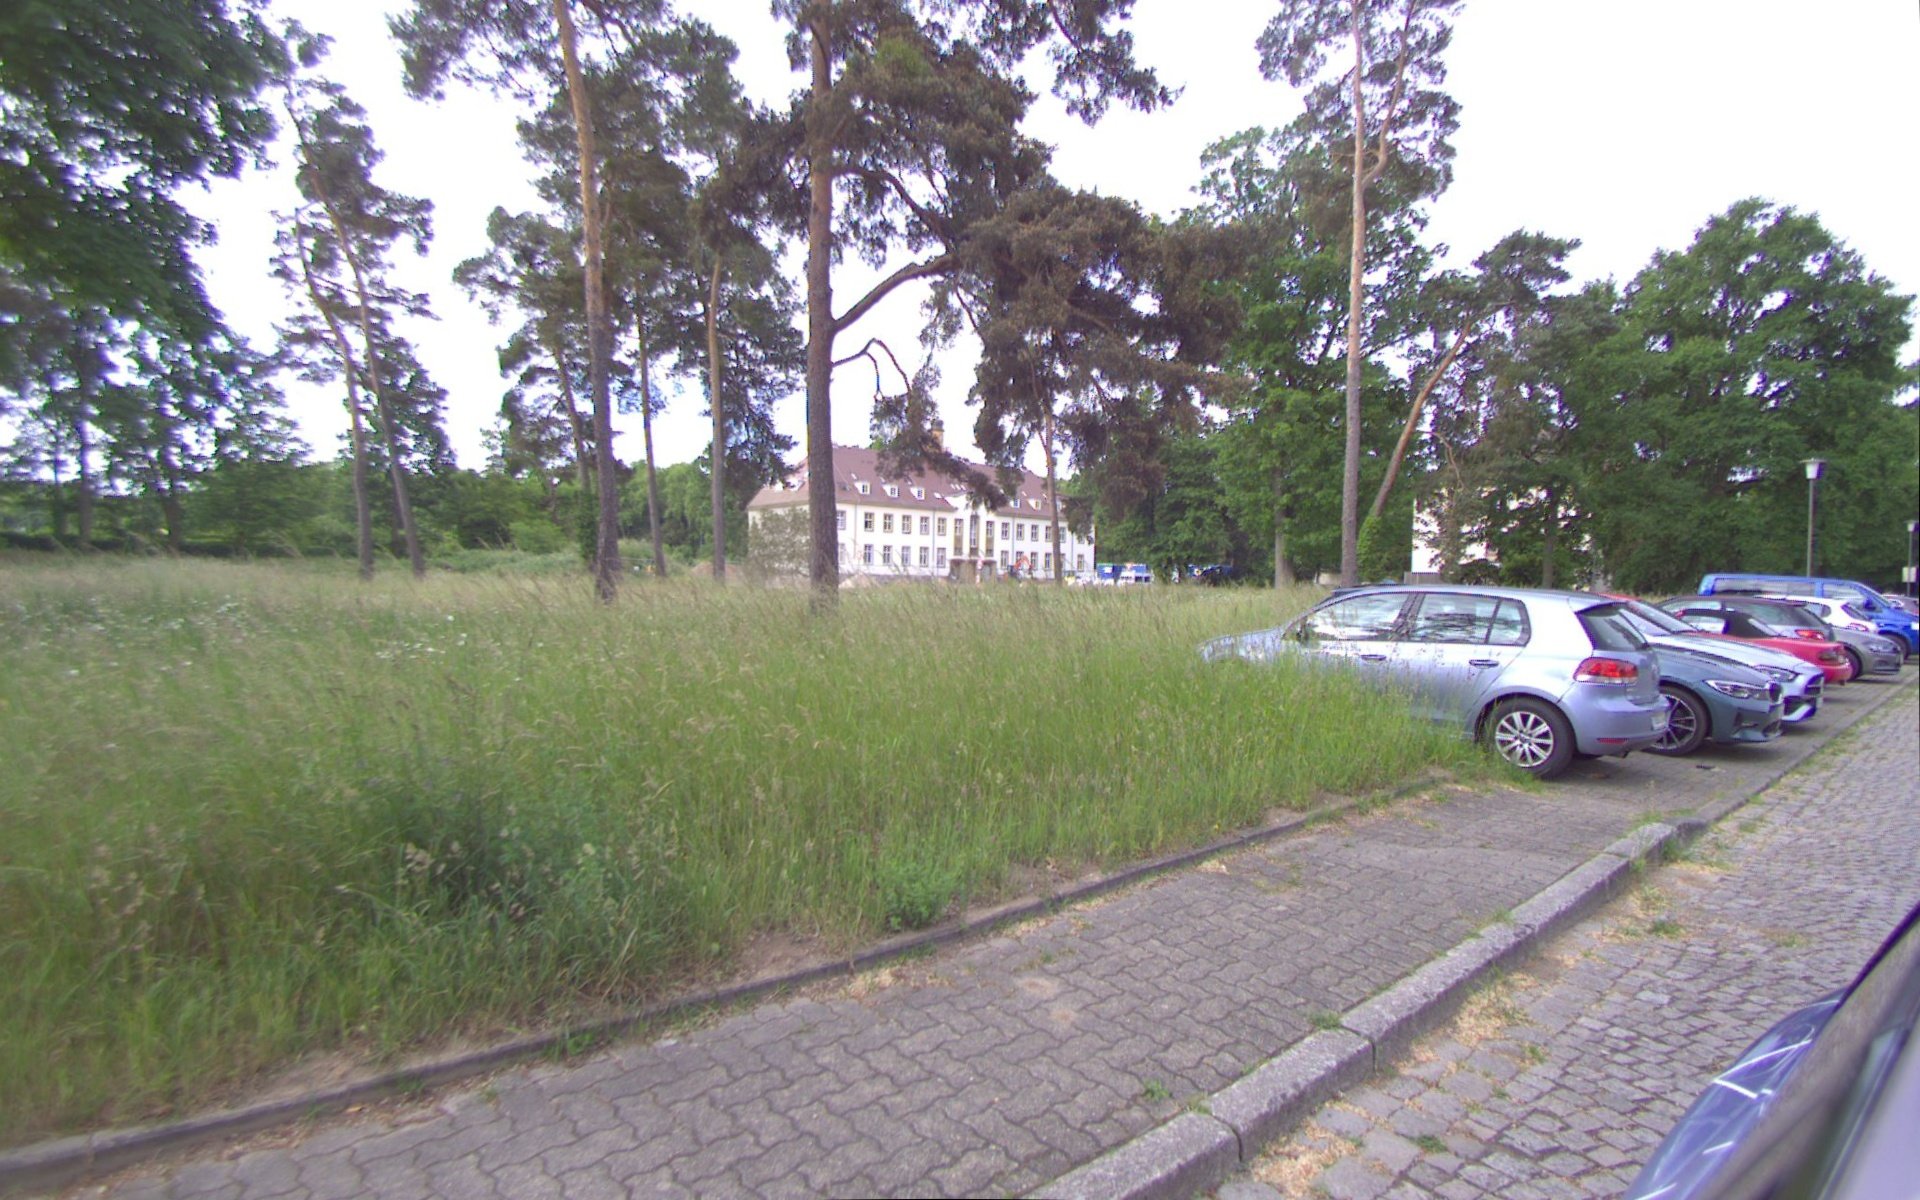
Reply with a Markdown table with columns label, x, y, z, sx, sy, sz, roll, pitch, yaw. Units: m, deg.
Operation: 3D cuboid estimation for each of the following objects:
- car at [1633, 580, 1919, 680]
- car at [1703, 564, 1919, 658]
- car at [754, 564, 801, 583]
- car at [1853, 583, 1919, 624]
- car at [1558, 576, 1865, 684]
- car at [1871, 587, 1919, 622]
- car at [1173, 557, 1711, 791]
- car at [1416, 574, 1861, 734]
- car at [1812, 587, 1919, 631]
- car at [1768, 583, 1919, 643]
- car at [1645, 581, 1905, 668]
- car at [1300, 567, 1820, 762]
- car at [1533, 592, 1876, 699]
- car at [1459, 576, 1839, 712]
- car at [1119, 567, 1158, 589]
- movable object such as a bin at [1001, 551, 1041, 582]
| label | x | y | z | sx | sy | sz | roll | pitch | yaw |
| --- | --- | --- | --- | --- | --- | --- | --- | --- | --- |
| car | 15.502 | 0.476 | 19.310 | 1.670 | 1.535 | 4.098 | 0 | 3 | -39 |
| car | 21.430 | 0.196 | 24.978 | 1.878 | 2.030 | 4.602 | -1 | 3 | -40 |
| car | -19.923 | -2.858 | 110.204 | 5.778 | 1.985 | 2.161 | 1 | 2 | 44 |
| car | 42.589 | 0.182 | 44.912 | 1.693 | 1.715 | 4.089 | 1 | 3 | -35 |
| car | 13.087 | 0.429 | 17.846 | 1.572 | 1.535 | 4.051 | 0 | 3 | -39 |
| car | 46.096 | 0.259 | 47.903 | 1.693 | 1.552 | 4.099 | 1 | 3 | -35 |
| car | 4.114 | 0.456 | 9.147 | 1.670 | 1.446 | 4.007 | 0 | 5 | -43 |
| car | 8.162 | 0.513 | 12.541 | 1.686 | 1.491 | 4.248 | 0 | 3 | -40 |
| car | 35.028 | 0.331 | 38.225 | 1.696 | 1.462 | 4.083 | 0 | 3 | -40 |
| car | 27.657 | 0.372 | 31.138 | 1.625 | 1.612 | 4.084 | 0 | 3 | -39 |
| car | 17.285 | 0.445 | 21.627 | 1.572 | 1.535 | 4.051 | 0 | 3 | -39 |
| car | 6.116 | 0.495 | 10.782 | 1.636 | 1.400 | 4.435 | 0 | 5 | -43 |
| car | 11.424 | 0.600 | 15.770 | 1.523 | 1.255 | 4.048 | 0 | 3 | -41 |
| car | 9.677 | 0.501 | 14.501 | 1.687 | 1.500 | 4.181 | 0 | 3 | -41 |
| car | 19.505 | -2.416 | 110.380 | 4.372 | 2.394 | 1.860 | -1 | 1 | -42 |
| movable object such as a bin | 7.627 | -4.196 | 126.957 | 2.016 | 3.817 | 5.460 | -1 | 1 | -38 |
